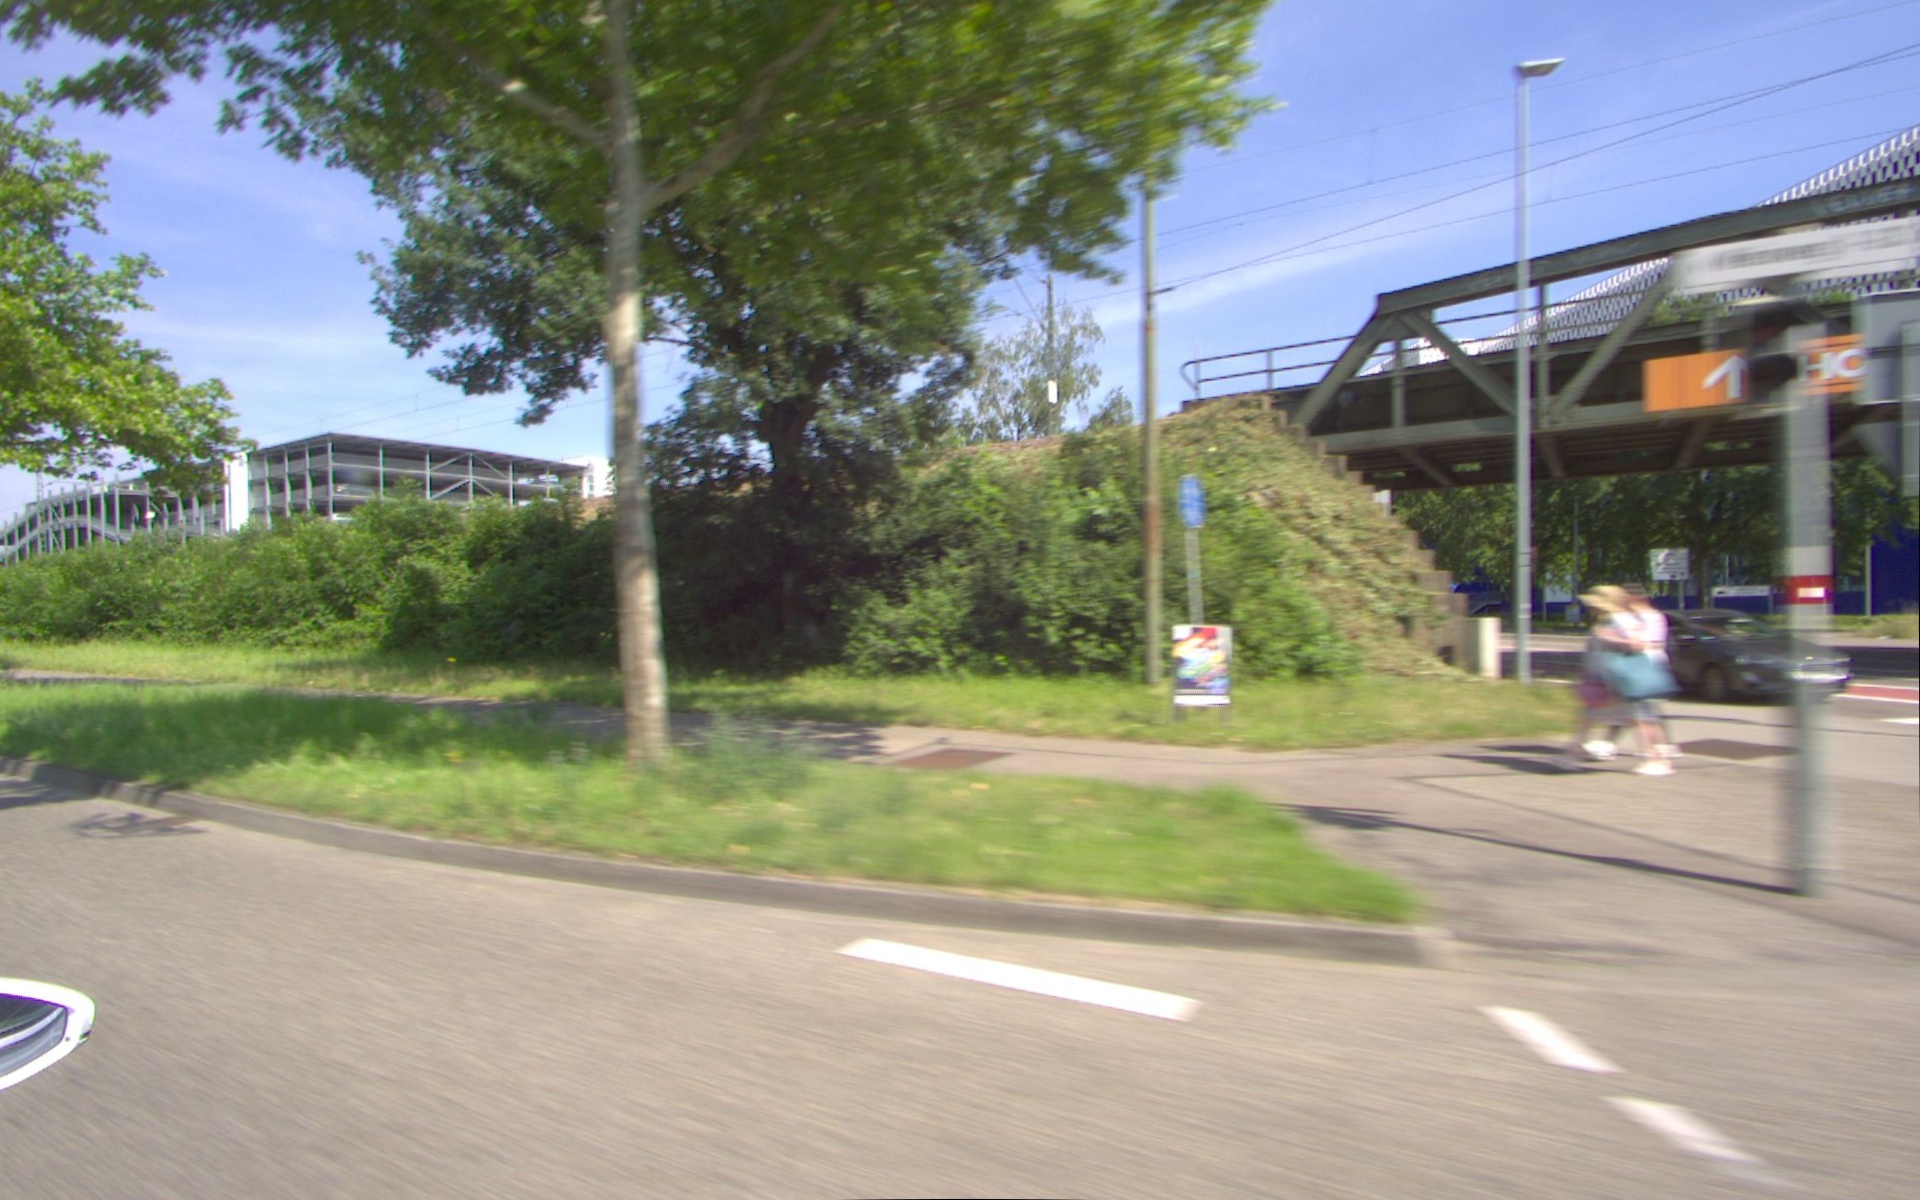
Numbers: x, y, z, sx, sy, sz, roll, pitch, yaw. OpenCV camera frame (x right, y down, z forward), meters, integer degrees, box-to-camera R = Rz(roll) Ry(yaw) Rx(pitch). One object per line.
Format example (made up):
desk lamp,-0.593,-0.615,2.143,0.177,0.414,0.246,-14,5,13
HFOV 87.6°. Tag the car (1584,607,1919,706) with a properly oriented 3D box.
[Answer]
car,12.948,0.852,16.787,1.961,1.427,4.501,0,-1,-4

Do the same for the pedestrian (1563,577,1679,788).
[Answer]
pedestrian,5.471,0.647,8.326,0.766,1.633,0.866,0,0,32

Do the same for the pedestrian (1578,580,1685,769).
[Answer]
pedestrian,5.997,0.635,8.984,0.766,1.600,0.728,0,0,32
